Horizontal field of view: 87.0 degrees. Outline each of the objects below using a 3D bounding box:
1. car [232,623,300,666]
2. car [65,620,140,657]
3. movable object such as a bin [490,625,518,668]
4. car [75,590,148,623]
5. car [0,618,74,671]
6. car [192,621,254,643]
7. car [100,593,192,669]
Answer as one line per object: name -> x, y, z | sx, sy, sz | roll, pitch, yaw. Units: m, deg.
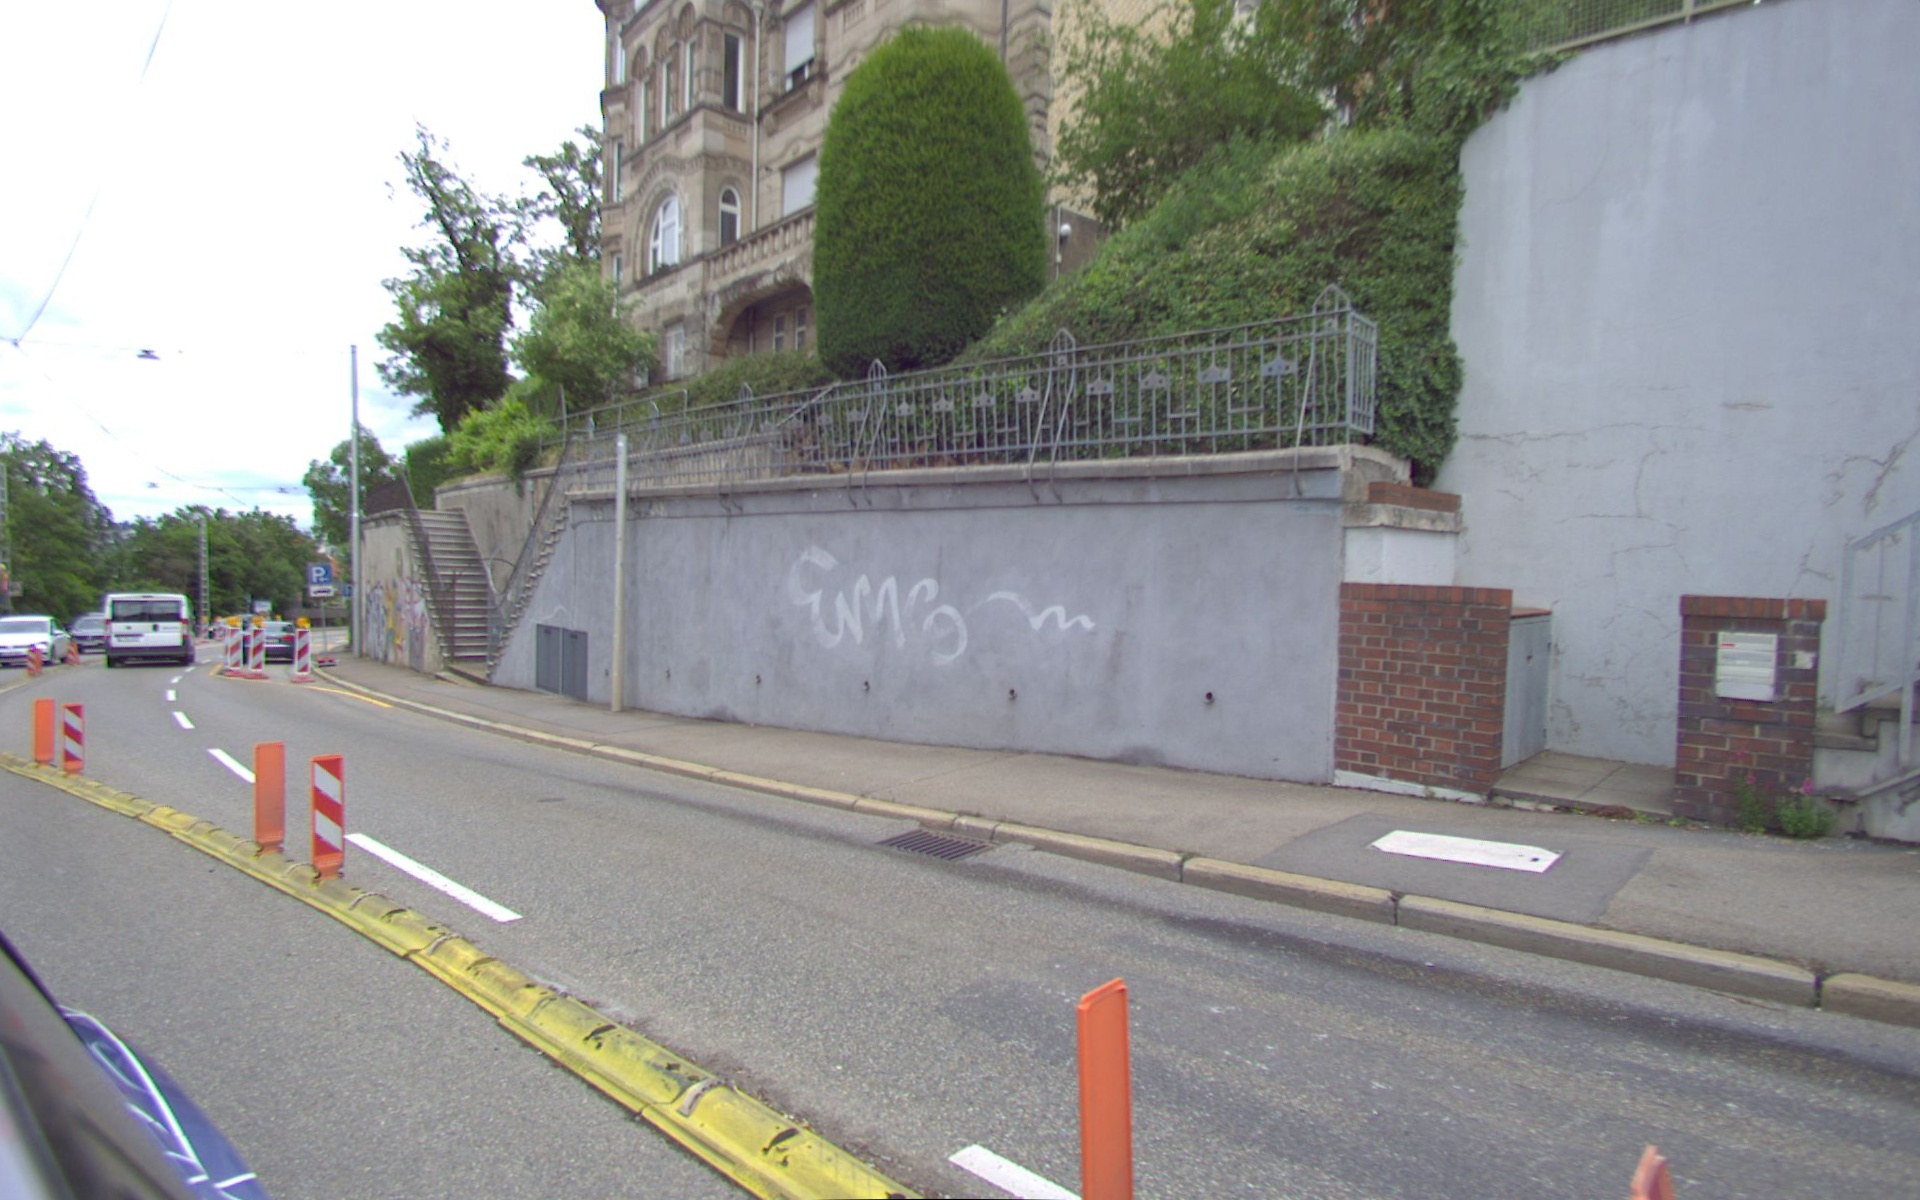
car -> -23.964, 1.494, 34.970 | 1.775, 1.383, 4.399 | 3, -2, -34
car -> -37.812, 1.679, 44.729 | 1.769, 1.522, 4.012 | 2, -2, -29
movable object such as a bin -> -10.097, 1.022, 22.416 | 0.447, 0.918, 0.509 | 0, -1, -37
car -> -49.730, 0.416, 59.409 | 1.827, 1.686, 4.293 | 6, -3, -21
car -> -29.652, 1.376, 32.080 | 1.763, 1.563, 4.256 | 0, -1, -33
car -> -51.310, 2.194, 70.572 | 1.764, 1.492, 4.253 | -1, -1, -9
car -> -25.701, 0.996, 32.117 | 2.040, 2.204, 4.973 | 2, -3, -37
